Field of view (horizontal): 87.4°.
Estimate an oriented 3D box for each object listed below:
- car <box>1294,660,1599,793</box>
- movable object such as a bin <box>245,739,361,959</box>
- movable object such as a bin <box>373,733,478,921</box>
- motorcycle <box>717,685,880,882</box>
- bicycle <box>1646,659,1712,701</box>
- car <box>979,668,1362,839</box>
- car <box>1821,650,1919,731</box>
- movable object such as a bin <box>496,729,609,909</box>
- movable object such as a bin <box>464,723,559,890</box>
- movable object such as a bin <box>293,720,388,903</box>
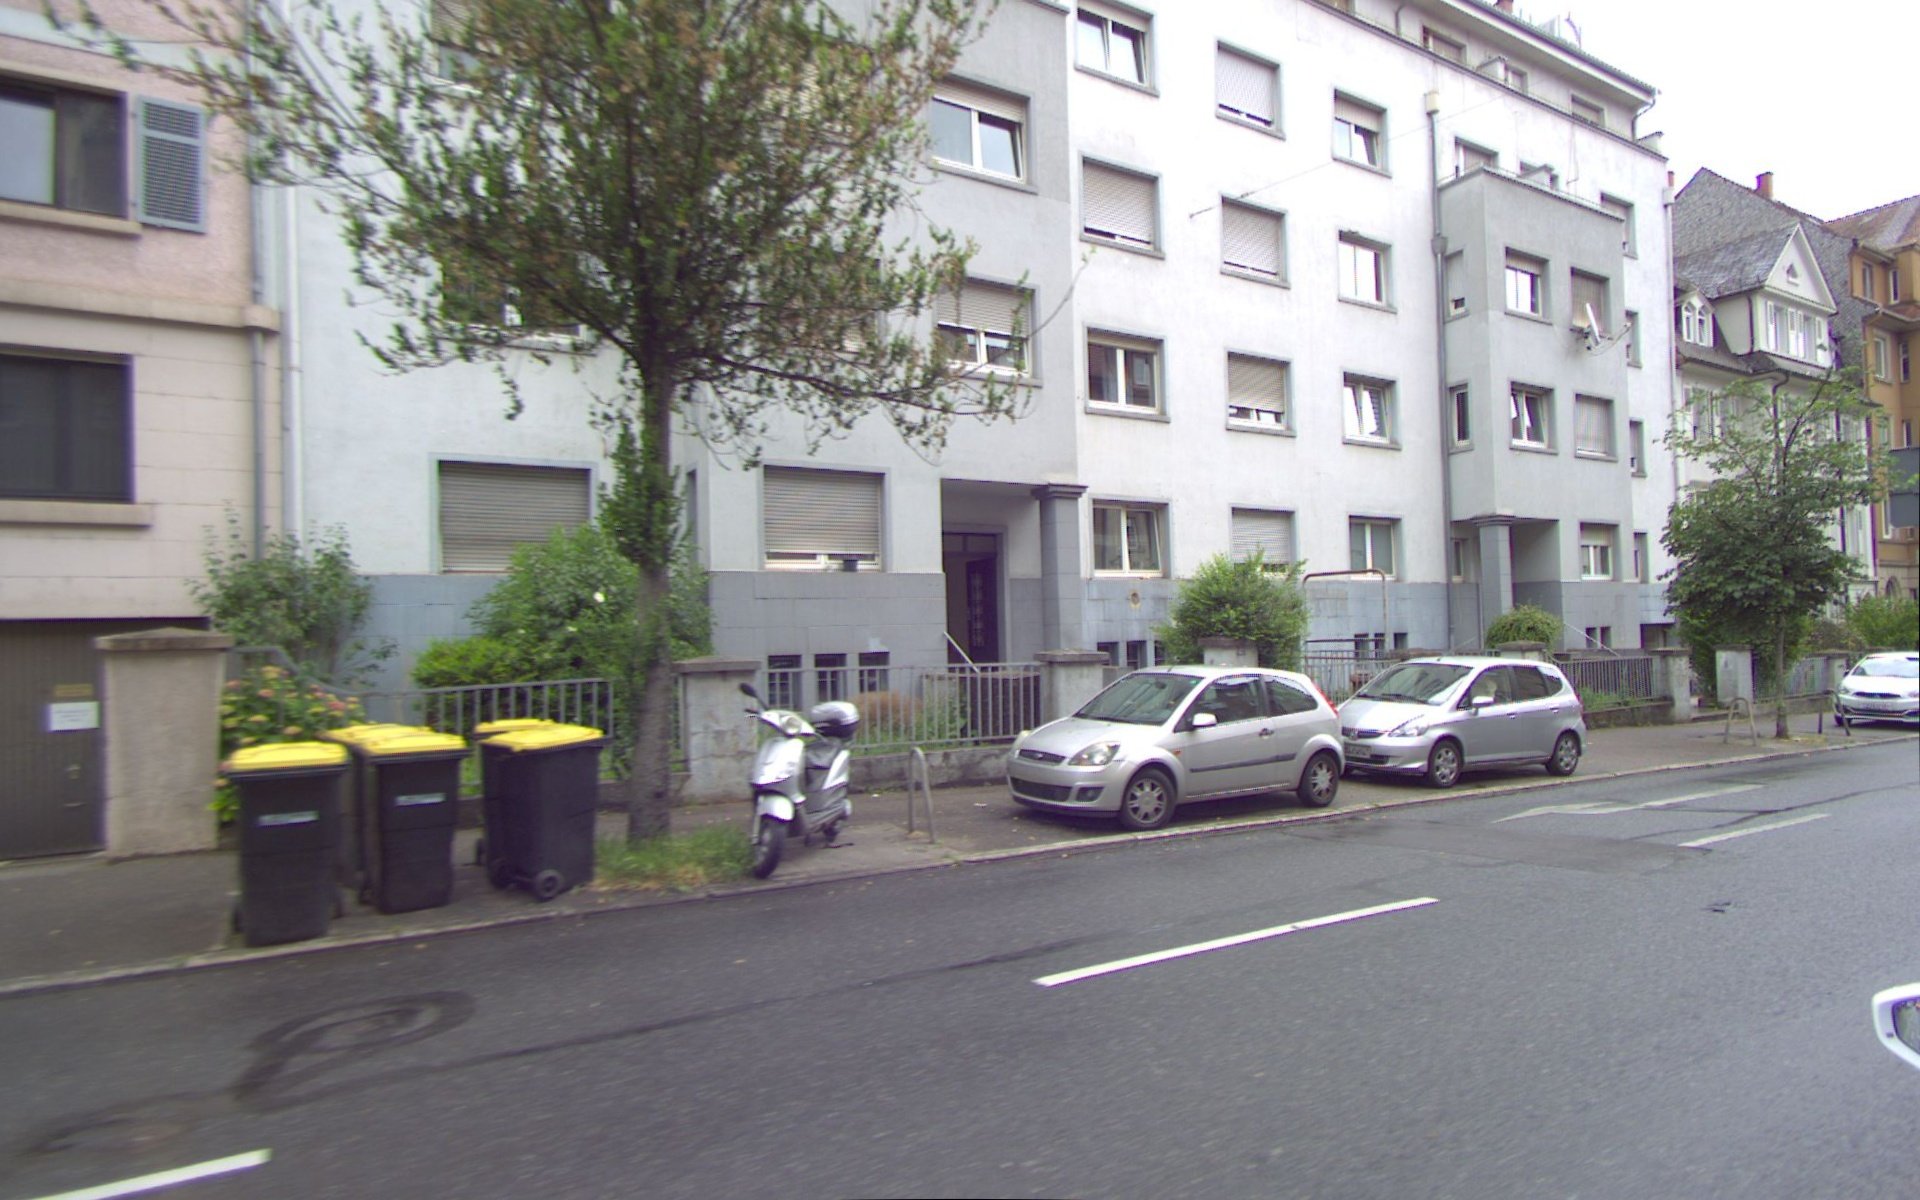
[{"bbox_3d":[6.305,1.546,12.958,3.838,1.470,1.595,2,-3,-28],"label":"car"},{"bbox_3d":[-3.845,1.415,5.923,0.478,1.072,0.821,2,0,-29],"label":"movable object such as a bin"},{"bbox_3d":[-3.457,1.437,6.492,0.479,1.072,0.467,3,0,-40],"label":"movable object such as a bin"},{"bbox_3d":[-1.230,1.381,8.092,0.727,1.332,1.813,-1,-3,10],"label":"motorcycle"},{"bbox_3d":[20.016,2.215,28.002,0.478,1.104,1.414,1,-3,-30],"label":"bicycle"},{"bbox_3d":[2.238,1.443,10.333,3.845,1.414,1.592,3,-3,-32],"label":"car"},{"bbox_3d":[19.694,1.852,20.941,3.756,1.527,1.637,3,-3,-33],"label":"car"},{"bbox_3d":[-2.767,1.457,6.828,0.517,1.072,0.482,2,0,38],"label":"movable object such as a bin"},{"bbox_3d":[-3.228,1.454,7.224,0.479,1.072,0.467,3,0,-40],"label":"movable object such as a bin"},{"bbox_3d":[-4.212,1.398,6.868,0.478,1.072,0.821,2,-1,-29],"label":"movable object such as a bin"}]
